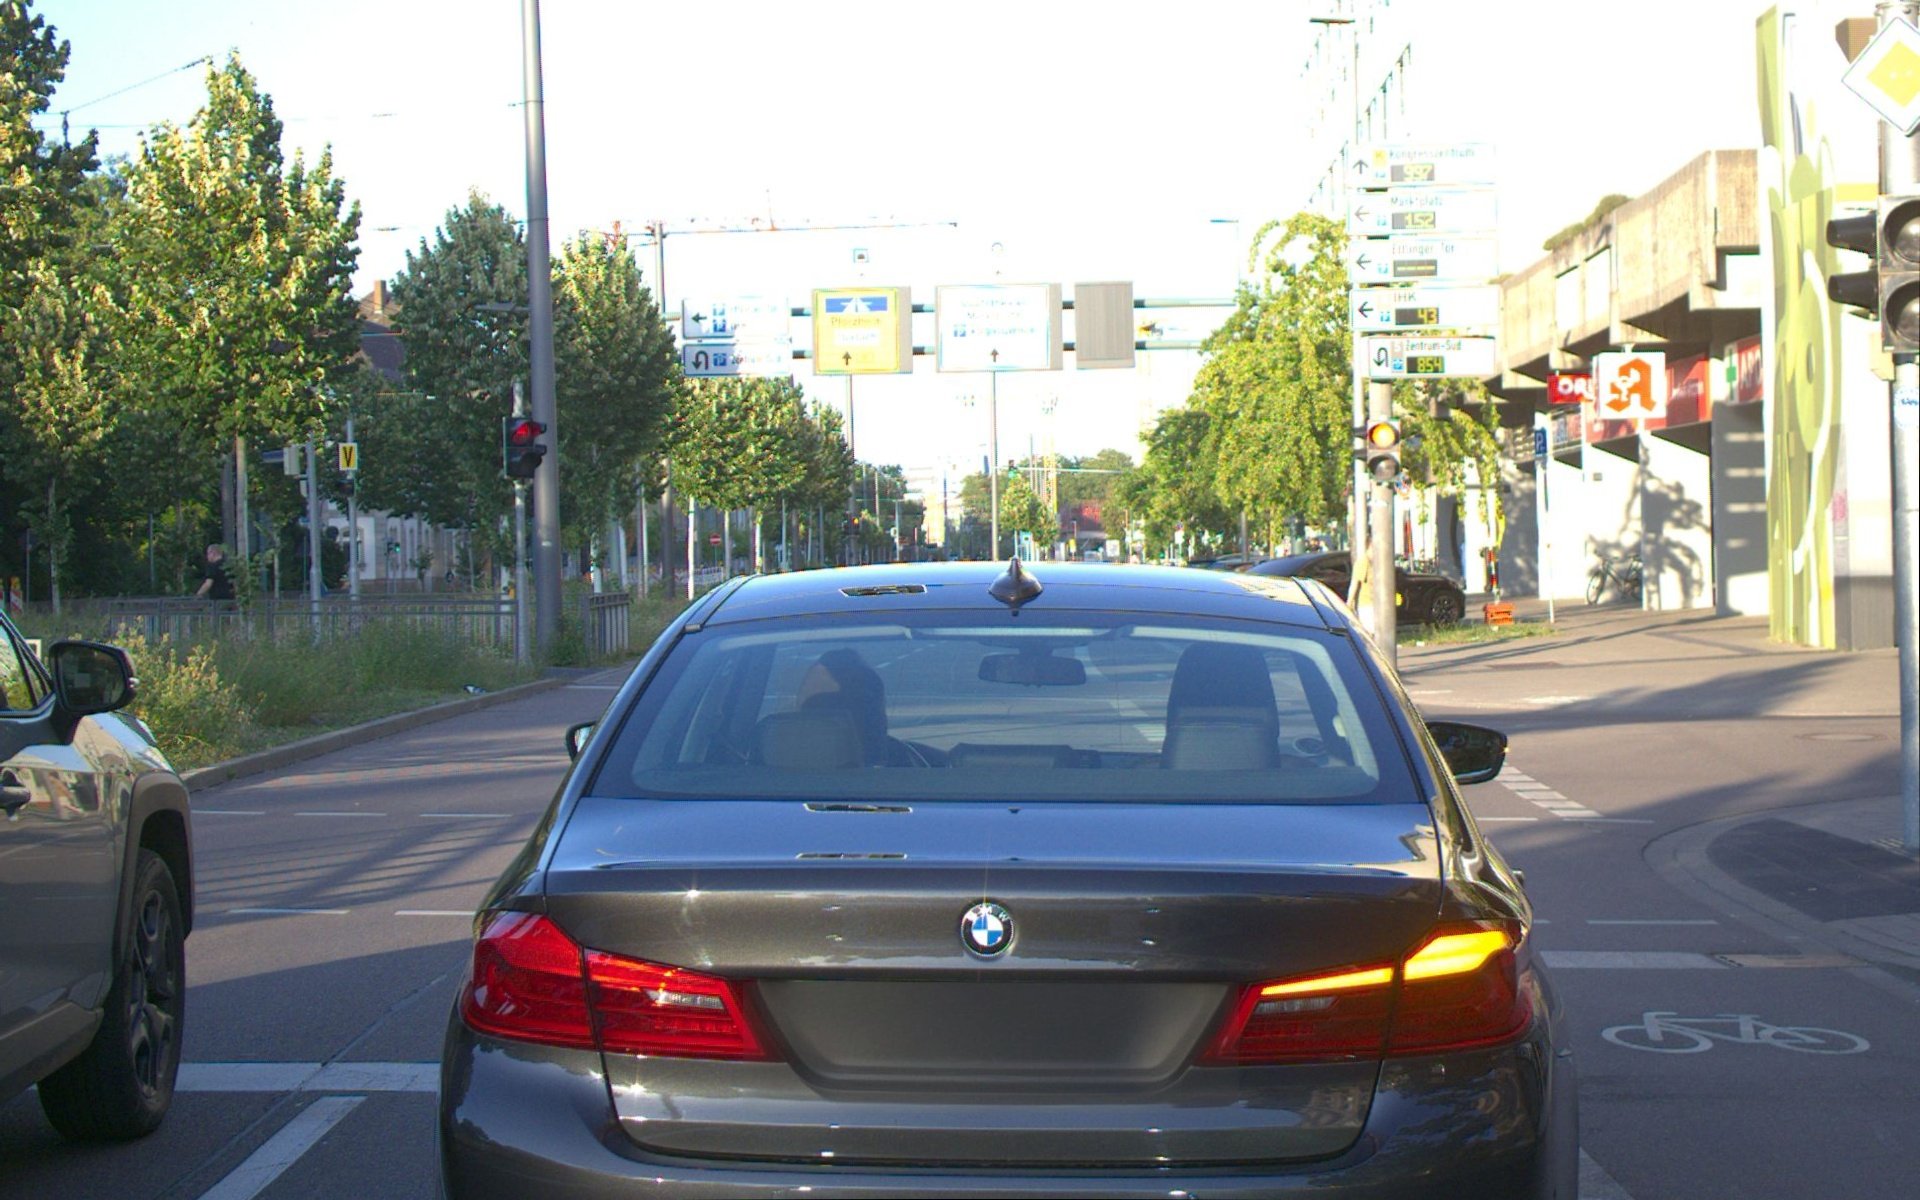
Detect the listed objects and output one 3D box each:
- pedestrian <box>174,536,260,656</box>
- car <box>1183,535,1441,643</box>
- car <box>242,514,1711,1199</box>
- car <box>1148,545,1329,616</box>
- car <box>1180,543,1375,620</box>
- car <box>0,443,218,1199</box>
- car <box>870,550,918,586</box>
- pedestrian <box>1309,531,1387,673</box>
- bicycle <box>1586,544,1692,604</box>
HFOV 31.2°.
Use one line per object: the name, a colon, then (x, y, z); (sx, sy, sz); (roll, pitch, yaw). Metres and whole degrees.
pedestrian: (-9.931, -0.061, 45.992); (0.835, 1.581, 0.811); (-1, 1, 11)
car: (5.839, -0.209, 56.725); (4.256, 1.653, 1.860); (-2, 3, -42)
car: (0.039, 0.593, 6.801); (1.932, 1.476, 4.523); (0, 2, 1)
car: (6.915, -0.512, 85.155); (4.255, 1.653, 1.860); (-1, 2, -35)
car: (7.305, -0.449, 78.896); (4.255, 1.653, 1.860); (-1, 2, -35)
car: (-2.901, 0.503, 6.999); (1.854, 1.653, 4.269); (0, 2, 0)
car: (-2.794, -1.388, 146.948); (1.979, 1.428, 4.843); (0, 2, 0)
pedestrian: (4.748, 0.022, 42.074); (0.835, 1.706, 0.648); (-1, 1, -1)
bicycle: (13.615, -0.523, 68.968); (2.017, 1.145, 0.690); (2, 0, 7)
